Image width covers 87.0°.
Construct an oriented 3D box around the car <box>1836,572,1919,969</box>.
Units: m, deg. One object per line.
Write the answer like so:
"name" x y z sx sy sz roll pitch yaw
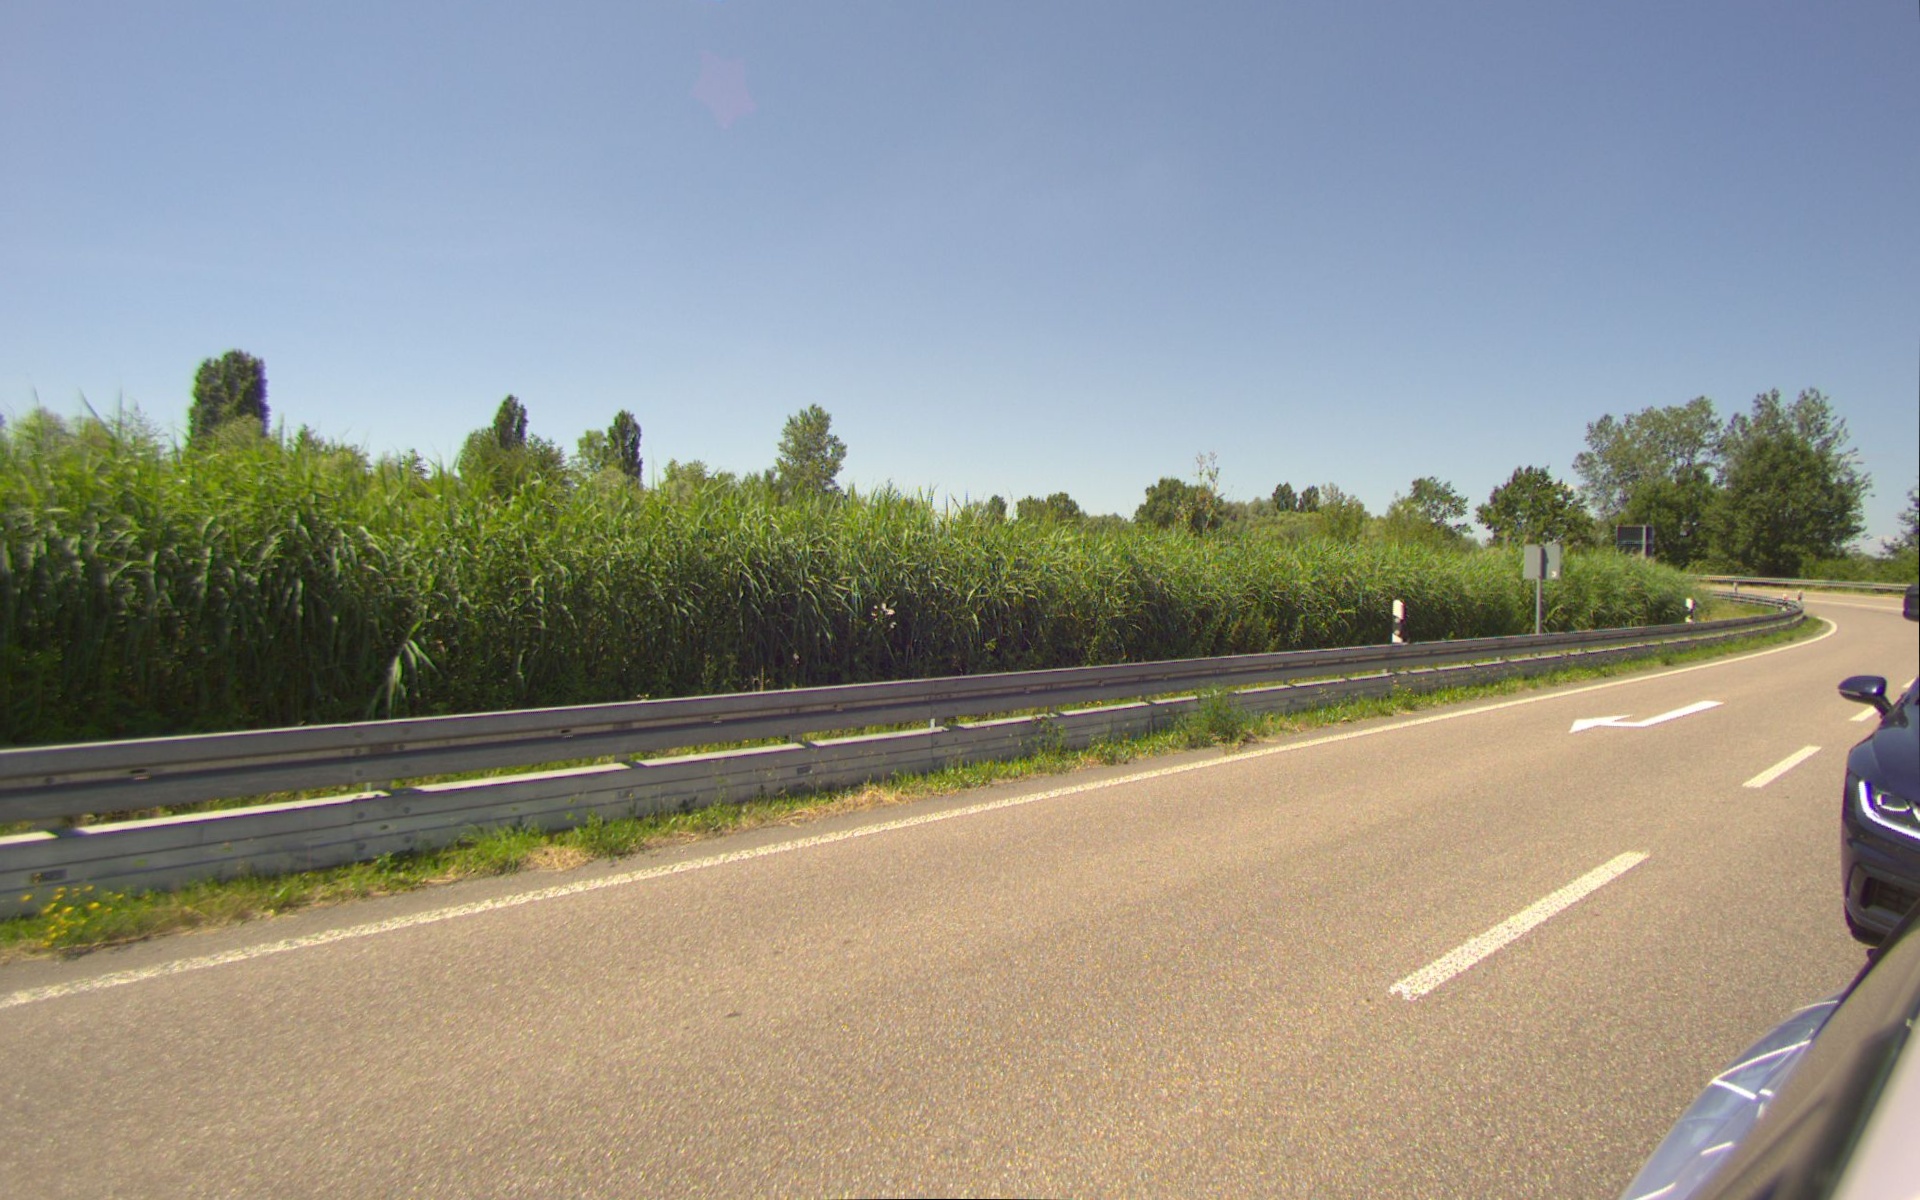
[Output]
"car" 5.646 0.622 4.683 4.338 1.481 1.818 -1 1 -41
